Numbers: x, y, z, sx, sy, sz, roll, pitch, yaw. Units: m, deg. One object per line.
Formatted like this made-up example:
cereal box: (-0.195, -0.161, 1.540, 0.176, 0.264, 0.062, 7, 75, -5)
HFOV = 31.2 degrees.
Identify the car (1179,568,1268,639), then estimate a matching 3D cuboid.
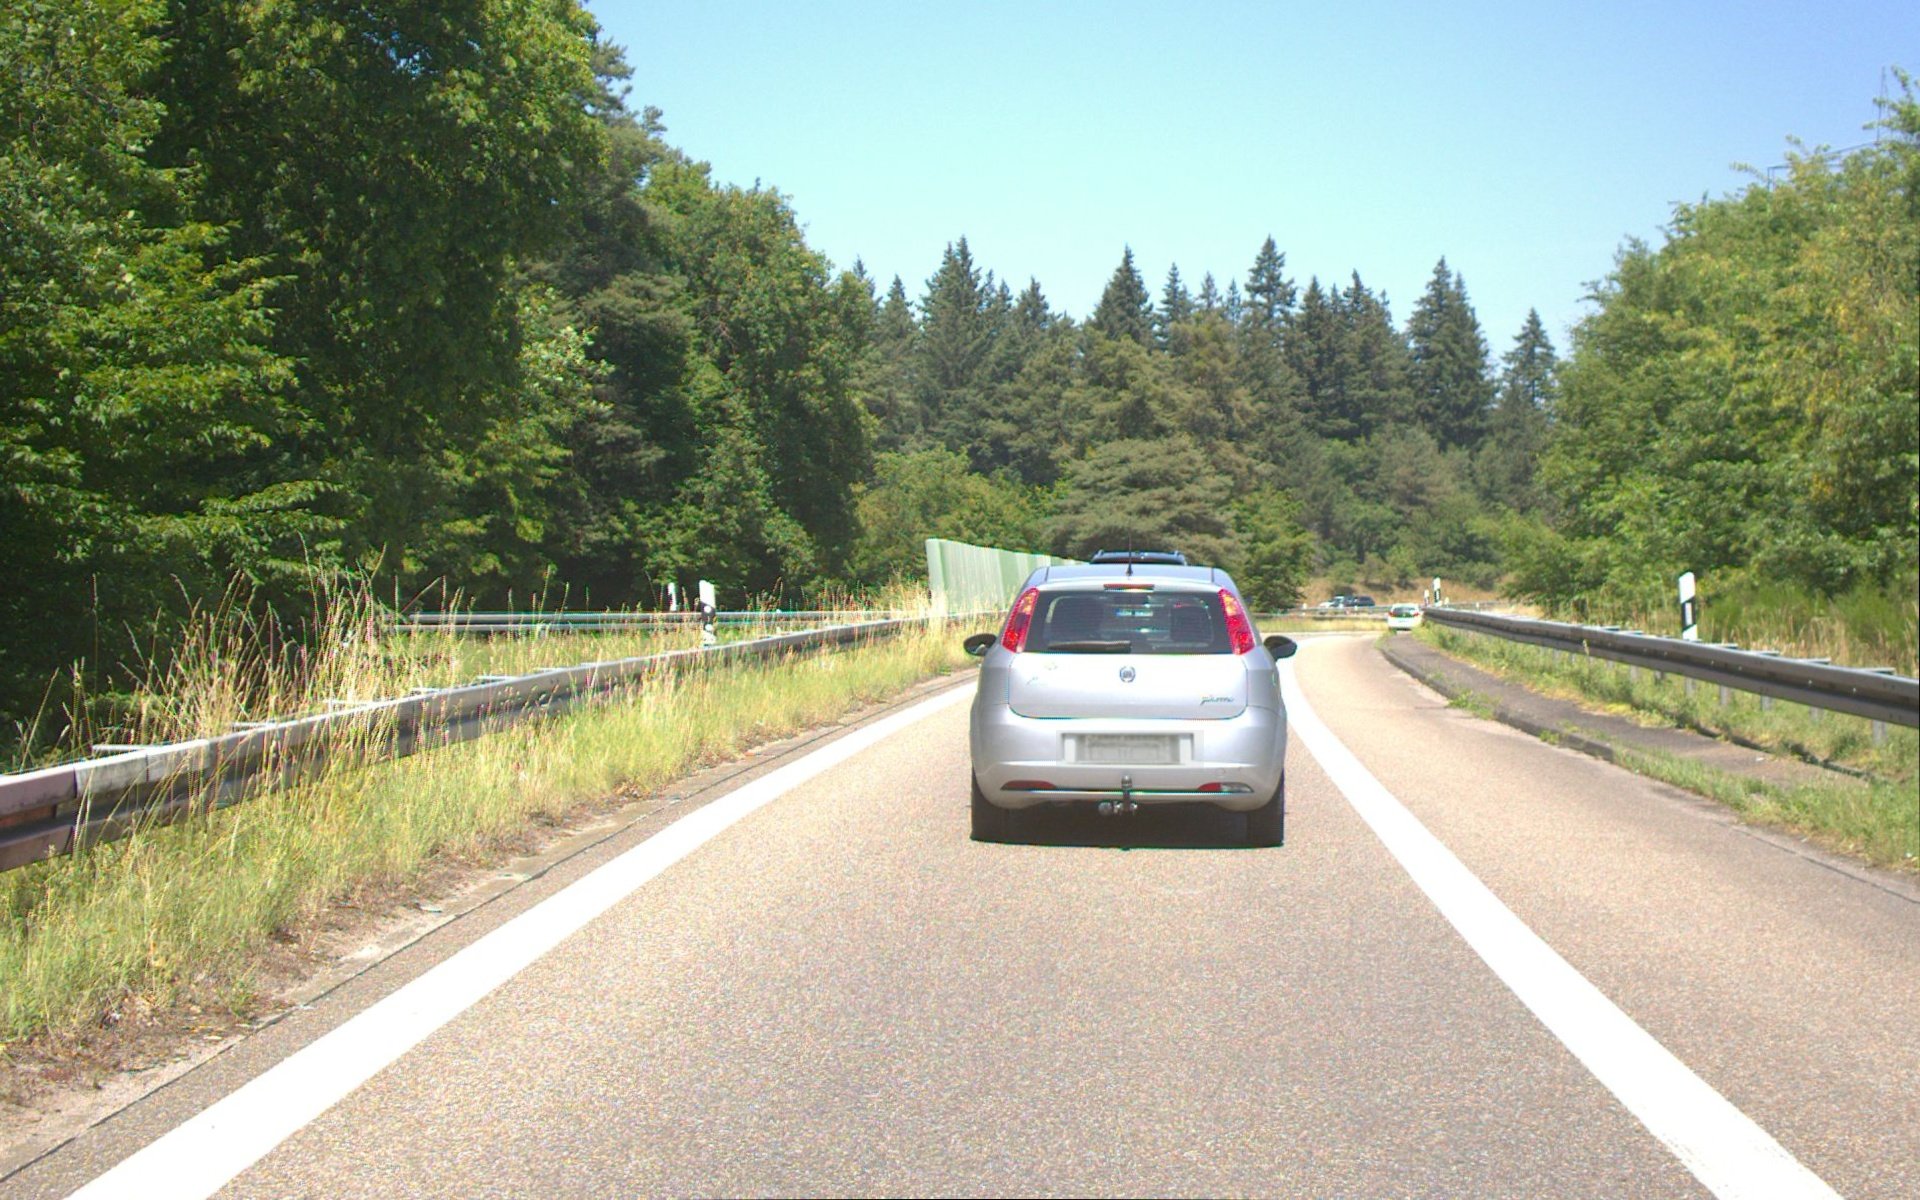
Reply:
car: (5.539, 0.064, 72.562, 1.706, 1.443, 3.397, 1, 0, 2)

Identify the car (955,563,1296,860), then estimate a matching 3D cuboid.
car: (0.886, 0.551, 19.071, 1.706, 1.477, 3.397, 1, 0, 2)

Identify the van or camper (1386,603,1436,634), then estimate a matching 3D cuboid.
van or camper: (22.207, 0.894, 169.166, 1.808, 1.481, 3.997, 0, 1, 17)

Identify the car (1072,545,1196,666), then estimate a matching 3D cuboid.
car: (2.486, 0.063, 49.732, 1.706, 1.670, 3.397, 1, 0, 2)
